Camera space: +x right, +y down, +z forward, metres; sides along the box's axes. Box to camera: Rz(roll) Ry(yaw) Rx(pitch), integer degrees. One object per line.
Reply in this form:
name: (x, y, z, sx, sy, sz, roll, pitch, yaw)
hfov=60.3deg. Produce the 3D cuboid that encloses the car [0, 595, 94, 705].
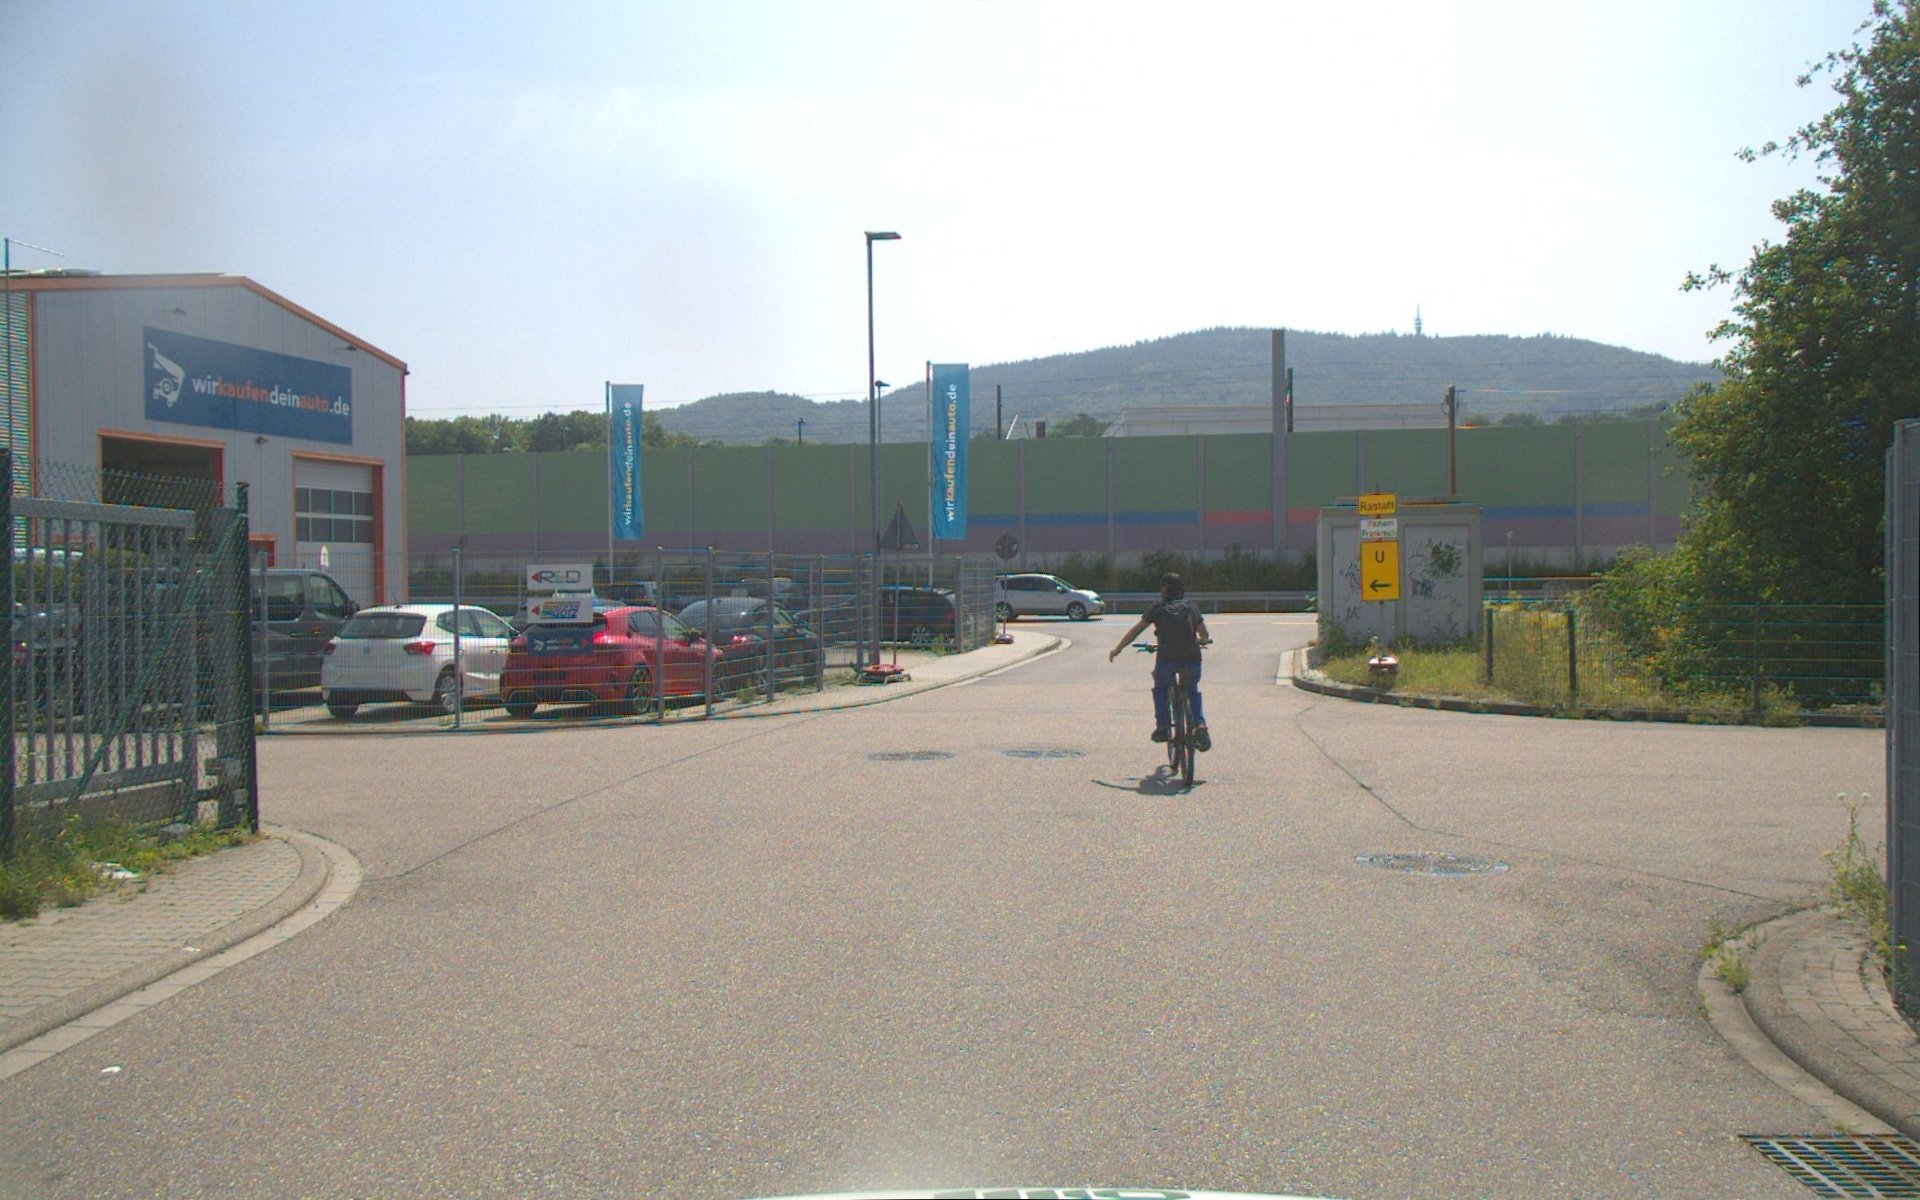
car: (-14.600, 0.740, 24.139, 1.471, 1.566, 3.607, -1, 1, 13)

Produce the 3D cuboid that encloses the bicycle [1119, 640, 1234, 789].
bicycle: (1.733, 0.891, 13.489, 0.671, 1.070, 1.900, -1, 0, 0)

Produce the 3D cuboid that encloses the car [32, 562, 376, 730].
car: (-10.192, 0.547, 22.743, 1.909, 2.066, 4.521, -1, 1, 13)

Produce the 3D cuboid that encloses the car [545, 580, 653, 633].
car: (-11.648, 0.185, 53.647, 1.951, 1.609, 4.004, -1, 1, 12)

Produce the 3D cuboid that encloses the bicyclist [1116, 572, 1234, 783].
bicyclist: (1.731, 0.610, 13.448, 0.825, 1.647, 1.039, 0, -1, 0)

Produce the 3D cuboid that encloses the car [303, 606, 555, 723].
car: (-7.241, 0.835, 22.938, 1.708, 1.429, 3.607, -1, 1, 13)

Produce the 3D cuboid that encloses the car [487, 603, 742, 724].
car: (-4.576, 0.797, 22.557, 1.829, 1.411, 4.117, -1, 1, 13)

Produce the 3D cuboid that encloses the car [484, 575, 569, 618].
car: (-17.845, -0.166, 68.298, 1.662, 1.686, 4.003, -1, 1, 14)

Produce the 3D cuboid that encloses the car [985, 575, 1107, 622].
car: (2.978, -0.058, 56.927, 3.902, 1.518, 2.002, -1, 1, 14)

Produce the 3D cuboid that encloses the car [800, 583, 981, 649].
car: (-1.662, 0.377, 39.918, 3.903, 1.518, 2.001, -1, 1, 17)

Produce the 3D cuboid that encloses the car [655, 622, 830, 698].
car: (-3.446, 0.938, 26.953, 1.452, 1.024, 4.117, -1, 1, 13)

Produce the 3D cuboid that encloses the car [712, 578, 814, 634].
car: (-6.003, 0.149, 50.904, 1.951, 1.609, 4.004, -1, 1, 12)
